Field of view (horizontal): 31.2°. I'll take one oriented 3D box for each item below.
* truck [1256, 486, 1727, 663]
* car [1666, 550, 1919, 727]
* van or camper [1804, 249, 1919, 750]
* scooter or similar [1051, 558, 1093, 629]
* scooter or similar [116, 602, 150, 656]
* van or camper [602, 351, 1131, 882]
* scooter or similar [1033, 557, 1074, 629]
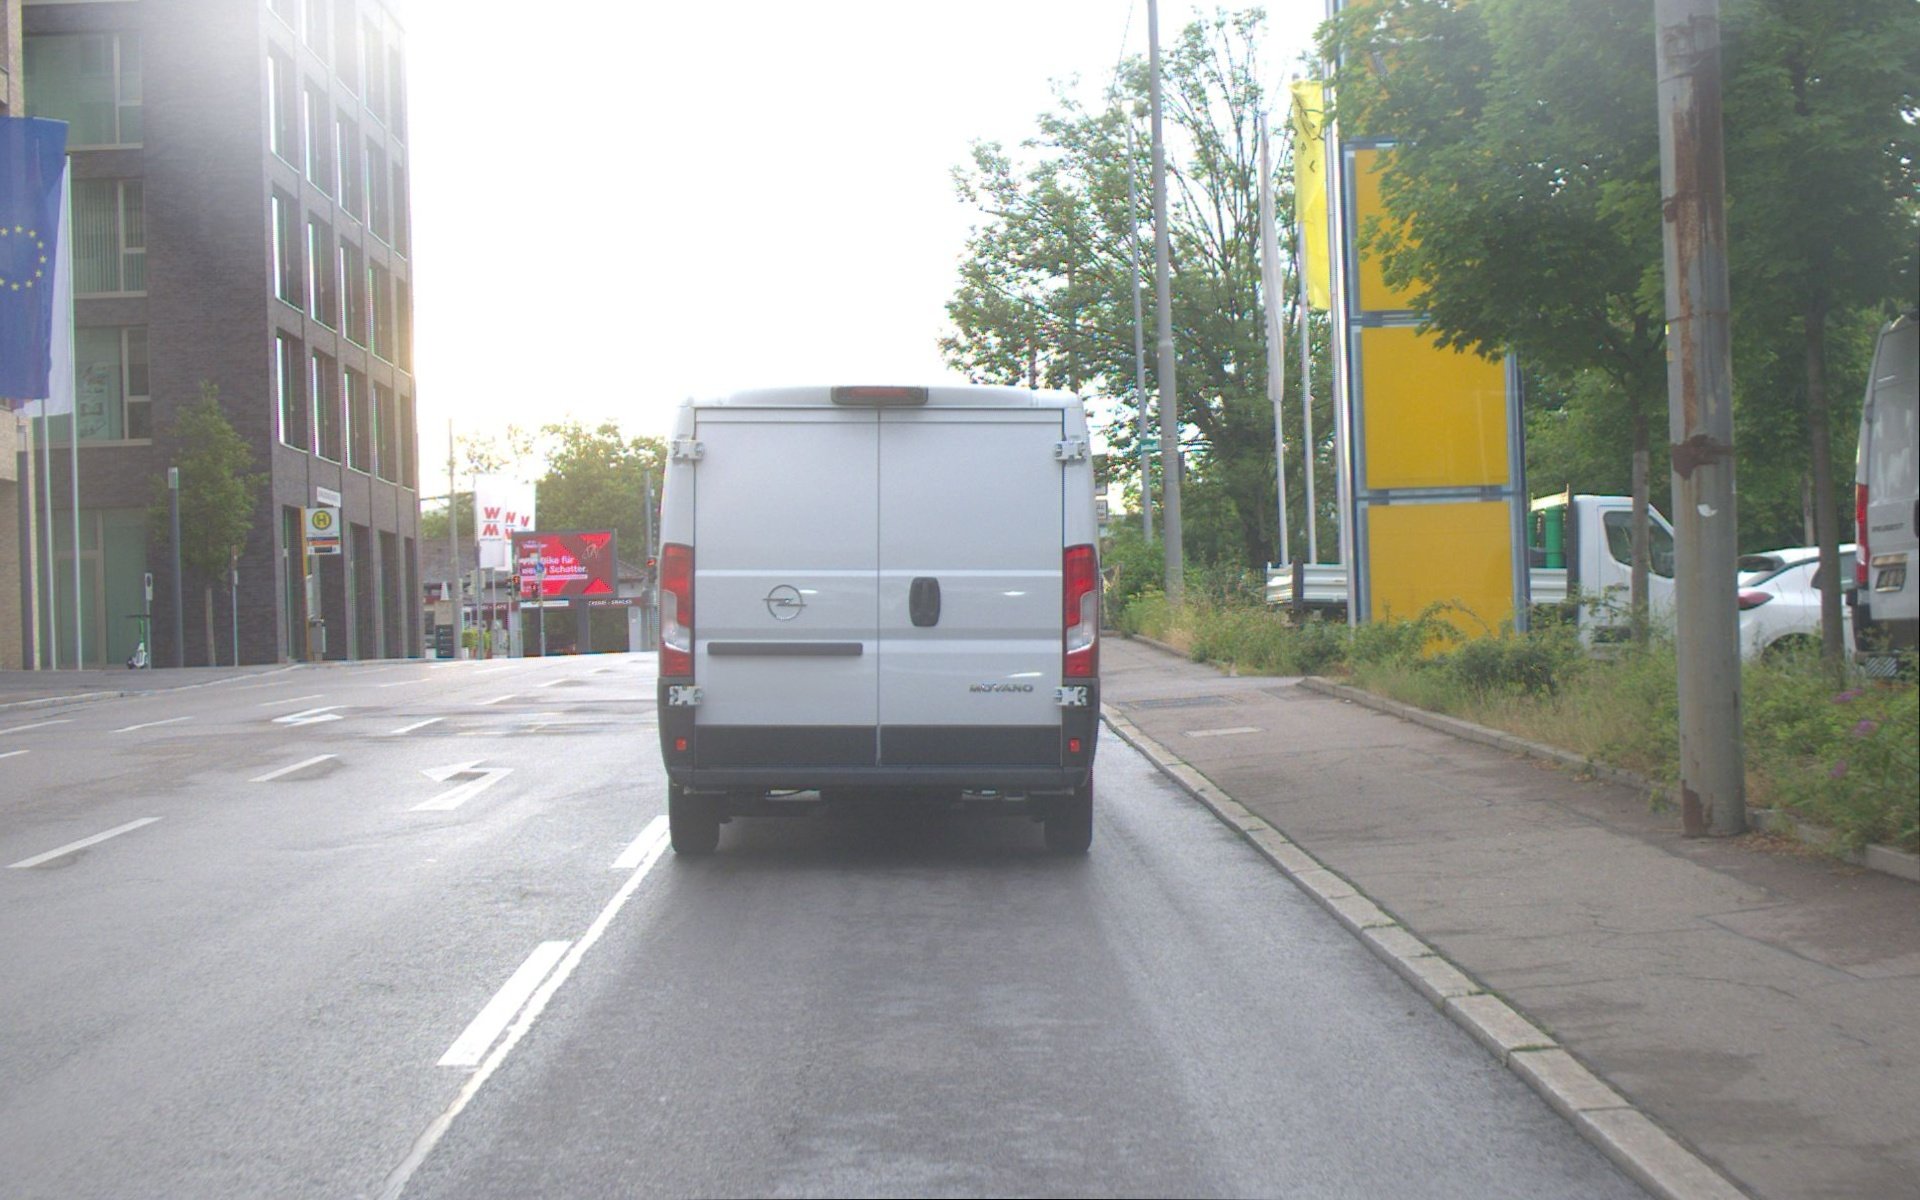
[{"bbox_3d":[6.224,-0.326,40.731,5.147,2.007,2.346,0,1,-3],"label":"truck"},{"bbox_3d":[8.227,0.291,29.392,3.987,1.423,1.895,-1,1,0],"label":"car"},{"bbox_3d":[8.048,-0.581,19.872,5.736,2.714,2.352,0,1,-1],"label":"van or camper"},{"bbox_3d":[2.512,-0.153,77.229,0.434,1.559,1.273,-1,1,-23],"label":"scooter or similar"},{"bbox_3d":[-16.603,0.583,69.034,0.351,1.068,1.428,0,-1,0],"label":"scooter or similar"},{"bbox_3d":[-0.418,0.028,17.879,2.340,2.349,5.200,0,1,0],"label":"van or camper"},{"bbox_3d":[2.097,-0.159,77.050,0.434,1.582,1.273,-1,1,-23],"label":"scooter or similar"}]
